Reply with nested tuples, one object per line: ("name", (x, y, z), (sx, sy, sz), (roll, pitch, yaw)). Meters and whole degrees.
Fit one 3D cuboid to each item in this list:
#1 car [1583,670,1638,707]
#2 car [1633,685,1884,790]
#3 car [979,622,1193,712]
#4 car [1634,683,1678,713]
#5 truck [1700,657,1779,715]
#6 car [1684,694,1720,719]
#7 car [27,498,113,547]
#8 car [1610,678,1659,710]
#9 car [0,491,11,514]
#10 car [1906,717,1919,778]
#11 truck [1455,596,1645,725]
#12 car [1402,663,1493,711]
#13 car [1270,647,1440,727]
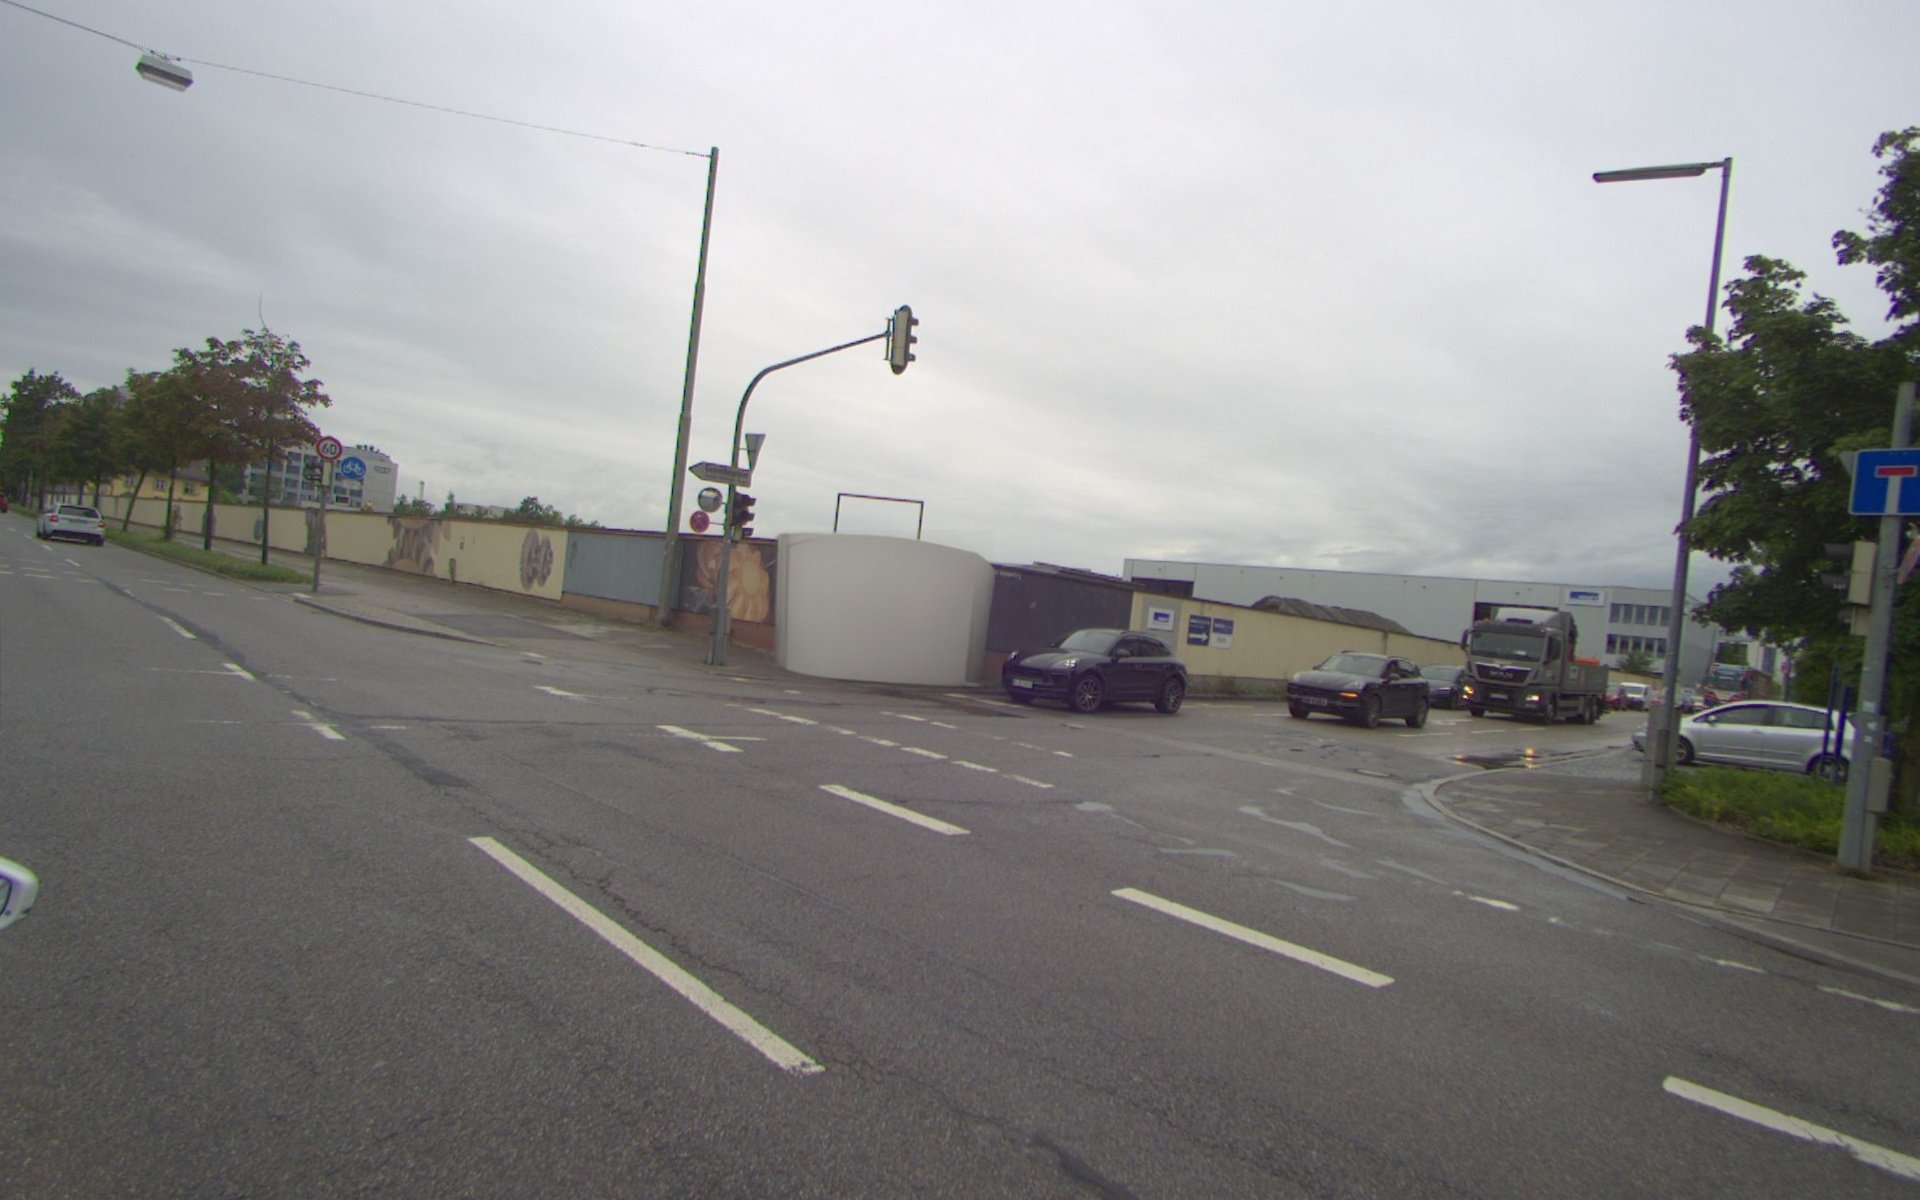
("car", (38.589, 5.268, 59.651), (1.849, 1.726, 4.081), (7, -1, 44))
("car", (16.819, 2.845, 21.337), (3.923, 1.504, 1.621), (6, -1, 42))
("car", (2.625, 1.391, 20.317), (4.237, 1.446, 1.975), (6, 0, -44))
("car", (49.468, 6.966, 71.475), (1.849, 1.726, 4.081), (7, -1, 44))
("truck", (59.858, 6.672, 77.109), (11.859, 3.879, 2.843), (6, 0, -44))
("car", (63.582, 9.155, 86.165), (1.849, 1.726, 4.081), (7, -1, 44))
("car", (-34.418, -3.011, 38.868), (4.440, 1.485, 1.876), (6, -1, 42))
("car", (44.586, 6.211, 66.464), (1.849, 1.726, 4.081), (7, -1, 44))
("car", (-79.290, -8.109, 82.695), (3.503, 1.736, 1.482), (6, -1, 43))
("car", (26.002, 3.944, 24.521), (4.137, 1.495, 1.899), (6, -1, 43))
("truck", (21.767, 2.386, 36.613), (11.859, 3.904, 2.577), (6, 0, -44))
("car", (18.557, 3.312, 38.227), (3.973, 1.494, 1.742), (6, 0, -43))
("car", (9.579, 2.118, 24.211), (4.603, 1.552, 1.975), (6, 0, -44))
